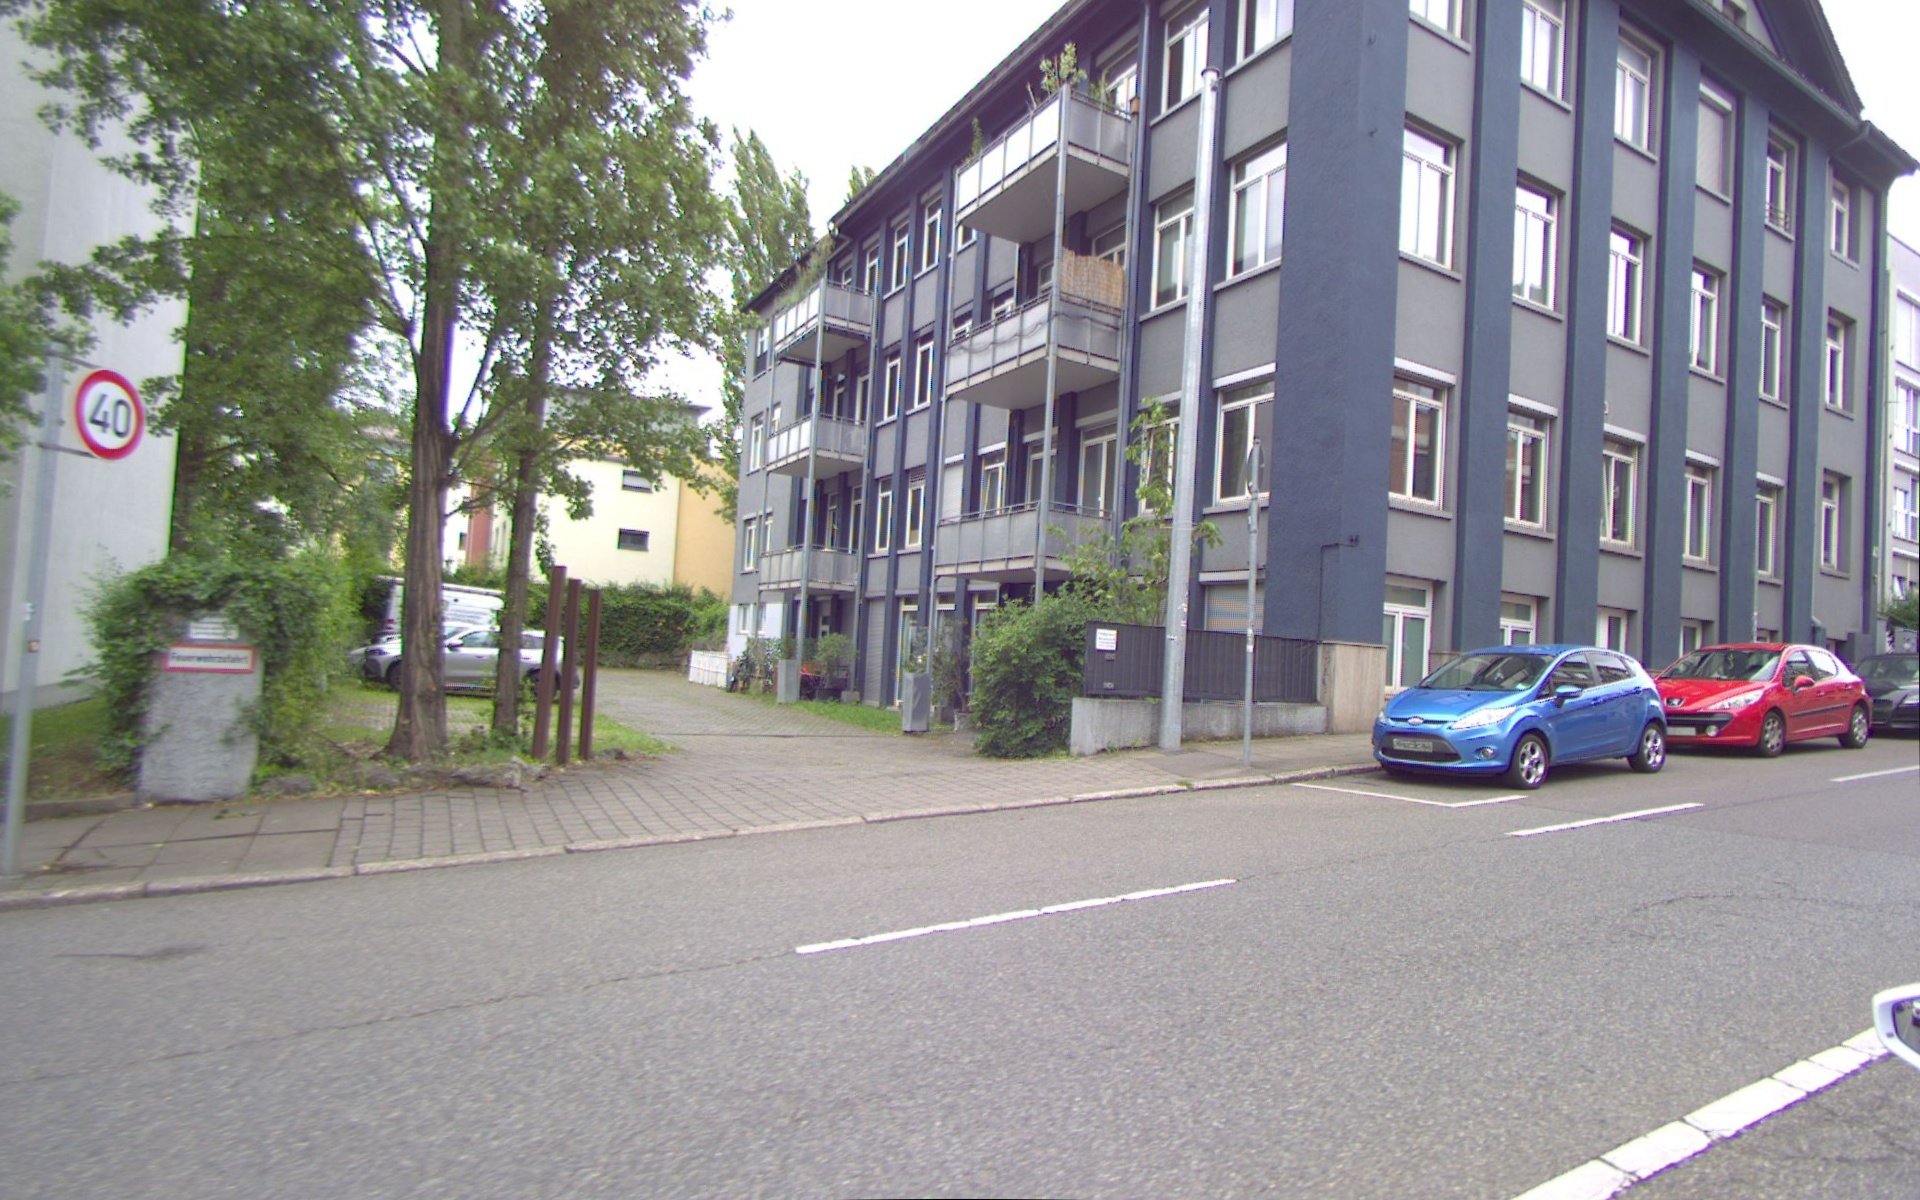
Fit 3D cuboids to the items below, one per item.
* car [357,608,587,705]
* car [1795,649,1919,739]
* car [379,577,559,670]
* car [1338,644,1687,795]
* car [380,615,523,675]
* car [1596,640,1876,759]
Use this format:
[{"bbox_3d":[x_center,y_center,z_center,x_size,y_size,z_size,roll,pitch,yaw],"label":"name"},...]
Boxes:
[{"bbox_3d":[-11.027,1.305,22.789,4.377,1.749,1.982,7,-3,-33],"label":"car"},{"bbox_3d":[15.978,1.513,16.925,3.858,1.358,1.706,1,-3,-30],"label":"car"},{"bbox_3d":[-18.683,0.924,38.308,5.731,2.916,2.397,7,-3,-32],"label":"car"},{"bbox_3d":[6.357,1.240,11.485,3.942,1.442,1.706,1,-3,-30],"label":"car"},{"bbox_3d":[-16.602,1.487,32.823,3.941,1.535,1.822,7,-3,-31],"label":"car"},{"bbox_3d":[11.056,1.326,14.276,3.940,1.475,1.707,1,-3,-29],"label":"car"}]
